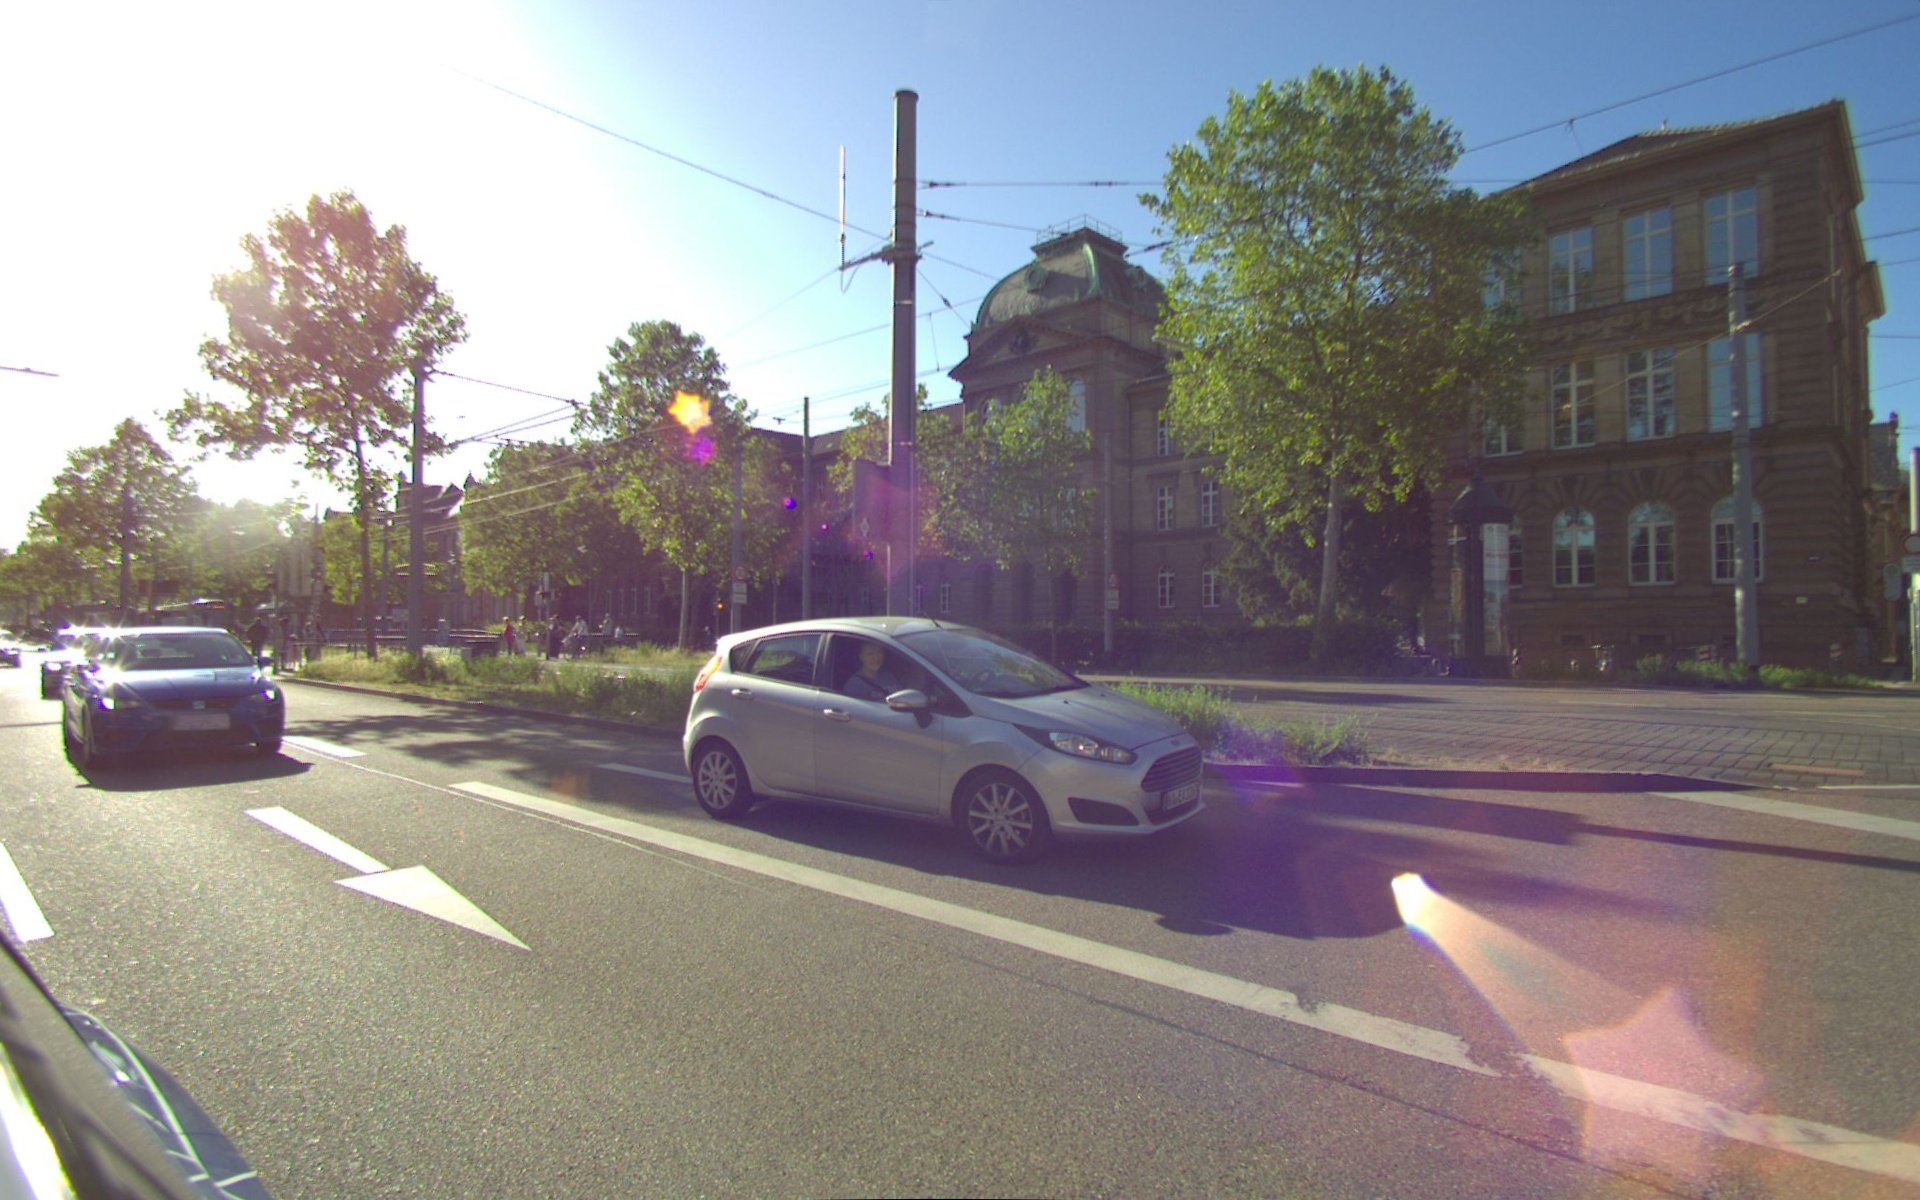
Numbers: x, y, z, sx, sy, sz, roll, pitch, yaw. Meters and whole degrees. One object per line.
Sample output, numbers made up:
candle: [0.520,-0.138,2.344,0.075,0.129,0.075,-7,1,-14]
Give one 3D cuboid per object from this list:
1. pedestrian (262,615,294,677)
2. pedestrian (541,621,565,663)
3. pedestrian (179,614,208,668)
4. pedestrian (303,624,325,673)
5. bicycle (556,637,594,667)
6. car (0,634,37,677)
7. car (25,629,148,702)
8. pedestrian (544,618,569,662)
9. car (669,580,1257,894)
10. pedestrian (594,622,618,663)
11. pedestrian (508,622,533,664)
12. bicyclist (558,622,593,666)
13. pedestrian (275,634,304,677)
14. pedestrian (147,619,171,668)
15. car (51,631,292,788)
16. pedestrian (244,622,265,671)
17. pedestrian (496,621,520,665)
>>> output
pedestrian: [-20.271,1.355,30.072,0.503,1.820,0.639,-2,-1,34]
pedestrian: [-16.263,1.681,40.440,0.692,1.656,0.592,-1,-1,9]
pedestrian: [-31.925,1.698,42.170,0.773,2.204,0.803,-1,-1,-25]
pedestrian: [-22.654,1.685,35.504,0.537,1.674,0.731,-1,-1,-41]
bicycle: [-14.749,1.985,38.783,0.539,1.049,1.657,-1,0,13]
car: [-38.007,2.190,40.243,1.749,1.588,3.829,-1,-1,-40]
car: [-19.703,1.412,22.778,4.002,1.439,1.774,-2,-1,45]
pedestrian: [-16.601,1.642,41.633,0.693,1.749,0.592,-1,-1,12]
car: [-0.129,0.736,7.015,3.857,1.607,1.647,-2,-1,37]
pedestrian: [-14.357,1.717,40.996,0.693,1.633,0.592,-1,-1,12]
pedestrian: [-17.745,1.730,40.874,0.693,1.689,0.592,-1,-1,12]
bicyclist: [-14.724,1.677,38.765,0.827,1.656,0.965,-1,-1,12]
pedestrian: [-19.765,1.634,29.841,0.424,1.242,0.587,-2,-1,34]
pedestrian: [-34.041,1.825,43.021,0.701,2.029,0.787,-1,-1,-44]
car: [-9.239,1.128,11.742,1.753,1.459,3.871,-1,-1,-45]
pedestrian: [-24.701,1.625,35.413,0.571,1.674,0.668,-1,-1,-37]
pedestrian: [-18.694,1.766,41.842,0.693,1.758,0.592,-1,-1,12]
